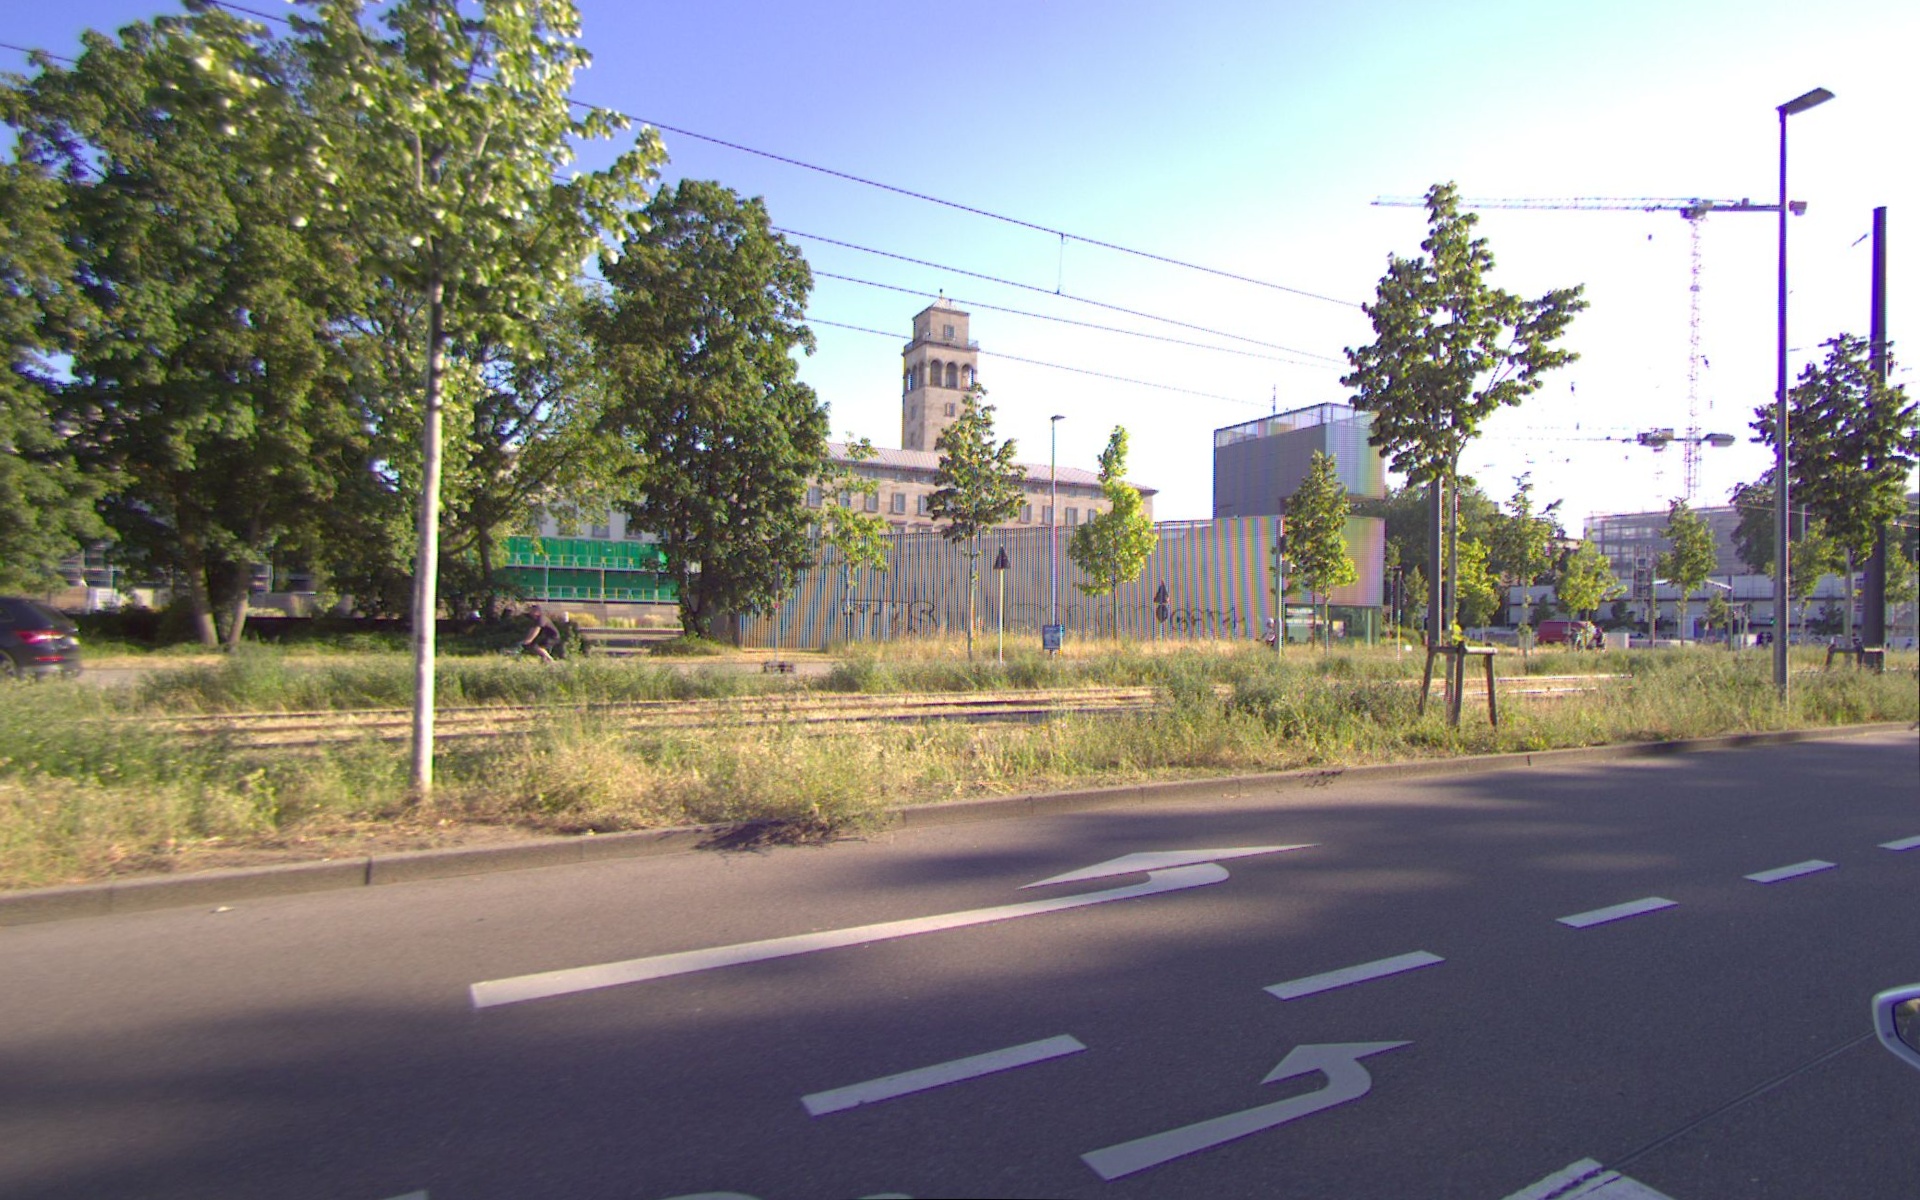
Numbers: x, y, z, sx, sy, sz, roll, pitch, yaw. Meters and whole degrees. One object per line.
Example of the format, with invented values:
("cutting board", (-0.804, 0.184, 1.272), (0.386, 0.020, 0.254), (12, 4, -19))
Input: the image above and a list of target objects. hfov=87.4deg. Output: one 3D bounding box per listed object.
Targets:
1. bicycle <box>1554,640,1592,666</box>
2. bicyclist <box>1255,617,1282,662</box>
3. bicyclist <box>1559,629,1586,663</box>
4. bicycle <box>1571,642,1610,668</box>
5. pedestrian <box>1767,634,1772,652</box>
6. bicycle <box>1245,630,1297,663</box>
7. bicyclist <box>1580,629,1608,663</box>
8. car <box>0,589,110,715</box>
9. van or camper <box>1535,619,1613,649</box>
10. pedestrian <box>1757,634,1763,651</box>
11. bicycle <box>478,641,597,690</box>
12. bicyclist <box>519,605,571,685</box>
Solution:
("bicycle", (27.353, 2.360, 44.819), (1.964, 1.119, 0.581), (2, 0, -30))
("bicyclist", (10.485, 1.338, 34.092), (0.660, 1.527, 0.554), (1, -1, -30))
("bicyclist", (27.318, 2.053, 44.813), (1.062, 1.461, 0.581), (1, 0, -30))
("bicycle", (27.690, 2.406, 44.080), (1.964, 1.119, 0.581), (2, 0, -30))
("pedestrian", (67.536, 3.593, 83.797), (0.270, 1.484, 0.314), (1, 0, 43))
("bicycle", (10.574, 1.584, 34.154), (1.876, 1.074, 0.556), (2, -1, -30))
("bicyclist", (27.899, 2.006, 44.200), (1.062, 1.461, 0.581), (1, 0, -30))
("car", (-15.394, 0.700, 14.283), (4.758, 1.789, 1.861), (2, -1, -31))
("van or camper", (54.366, 2.972, 89.074), (2.128, 2.446, 5.638), (1, -1, -28))
("pedestrian", (67.056, 3.565, 84.171), (0.276, 1.484, 0.272), (2, 0, -34))
("bicycle", (-9.295, 1.421, 22.146), (2.333, 1.016, 0.684), (2, -1, -30))
("bicyclist", (-9.180, 0.985, 22.220), (0.943, 1.730, 0.684), (1, -1, -30))
